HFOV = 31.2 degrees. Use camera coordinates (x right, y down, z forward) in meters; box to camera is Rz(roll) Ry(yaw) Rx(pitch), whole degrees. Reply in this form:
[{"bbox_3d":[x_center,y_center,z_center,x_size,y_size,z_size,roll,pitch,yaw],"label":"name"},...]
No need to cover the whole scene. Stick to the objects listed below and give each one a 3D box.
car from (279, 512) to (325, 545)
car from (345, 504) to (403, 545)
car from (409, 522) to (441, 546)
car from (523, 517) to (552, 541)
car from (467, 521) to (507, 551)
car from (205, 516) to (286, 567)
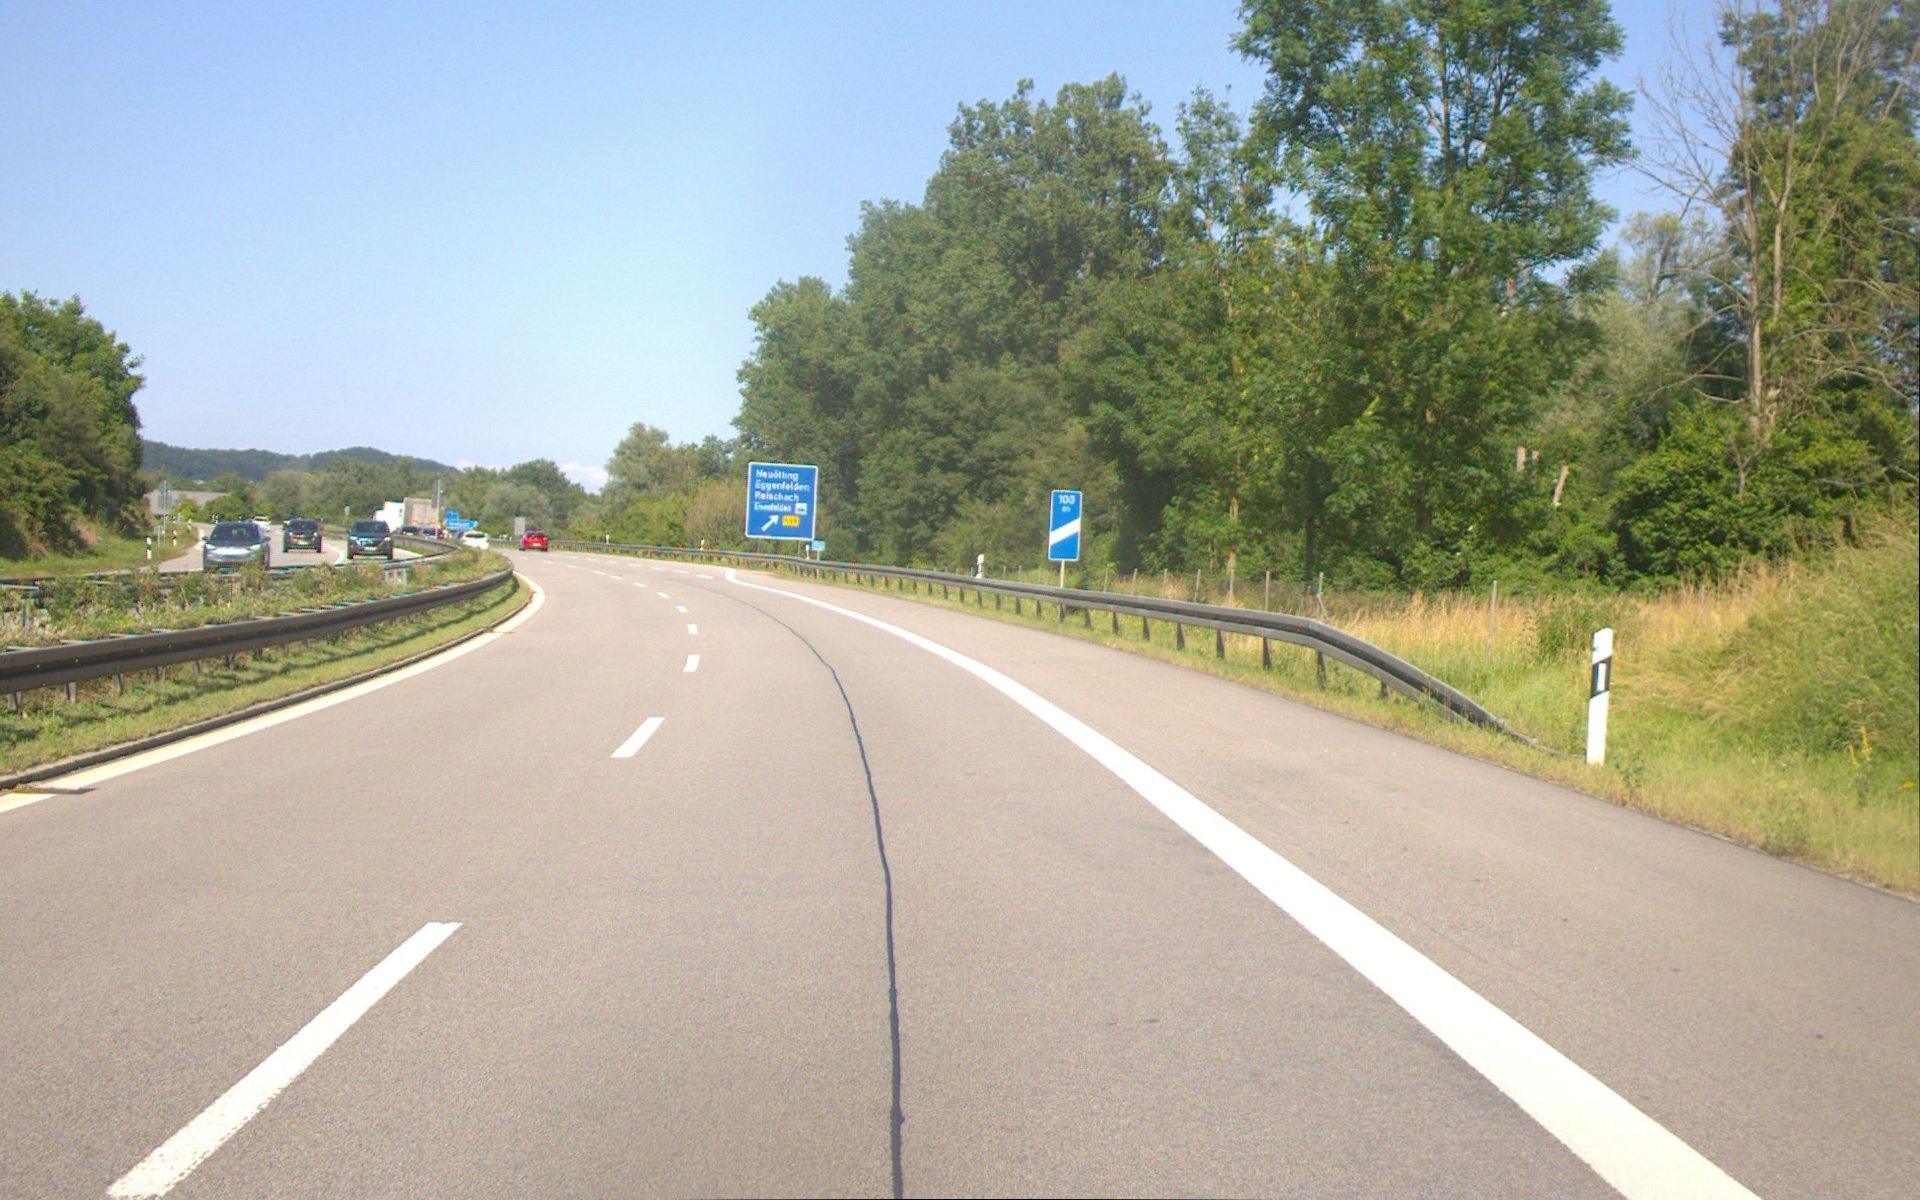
[{"bbox_3d":[-32.528,-3.537,170.019,1.993,1.646,4.435,0,1,-8],"label":"car"},{"bbox_3d":[-24.652,-3.177,144.731,2.067,1.673,4.888,0,1,-5],"label":"car"},{"bbox_3d":[-38.114,-4.693,244.744,1.993,1.744,4.001,0,1,-13],"label":"car"},{"bbox_3d":[-29.502,-4.942,240.053,1.783,1.426,4.001,6,0,-9],"label":"car"},{"bbox_3d":[-28.459,-3.846,206.773,2.061,1.619,4.001,2,-1,-13],"label":"car"},{"bbox_3d":[-21.718,-1.791,104.589,1.819,1.475,4.686,1,1,-5],"label":"car"}]
